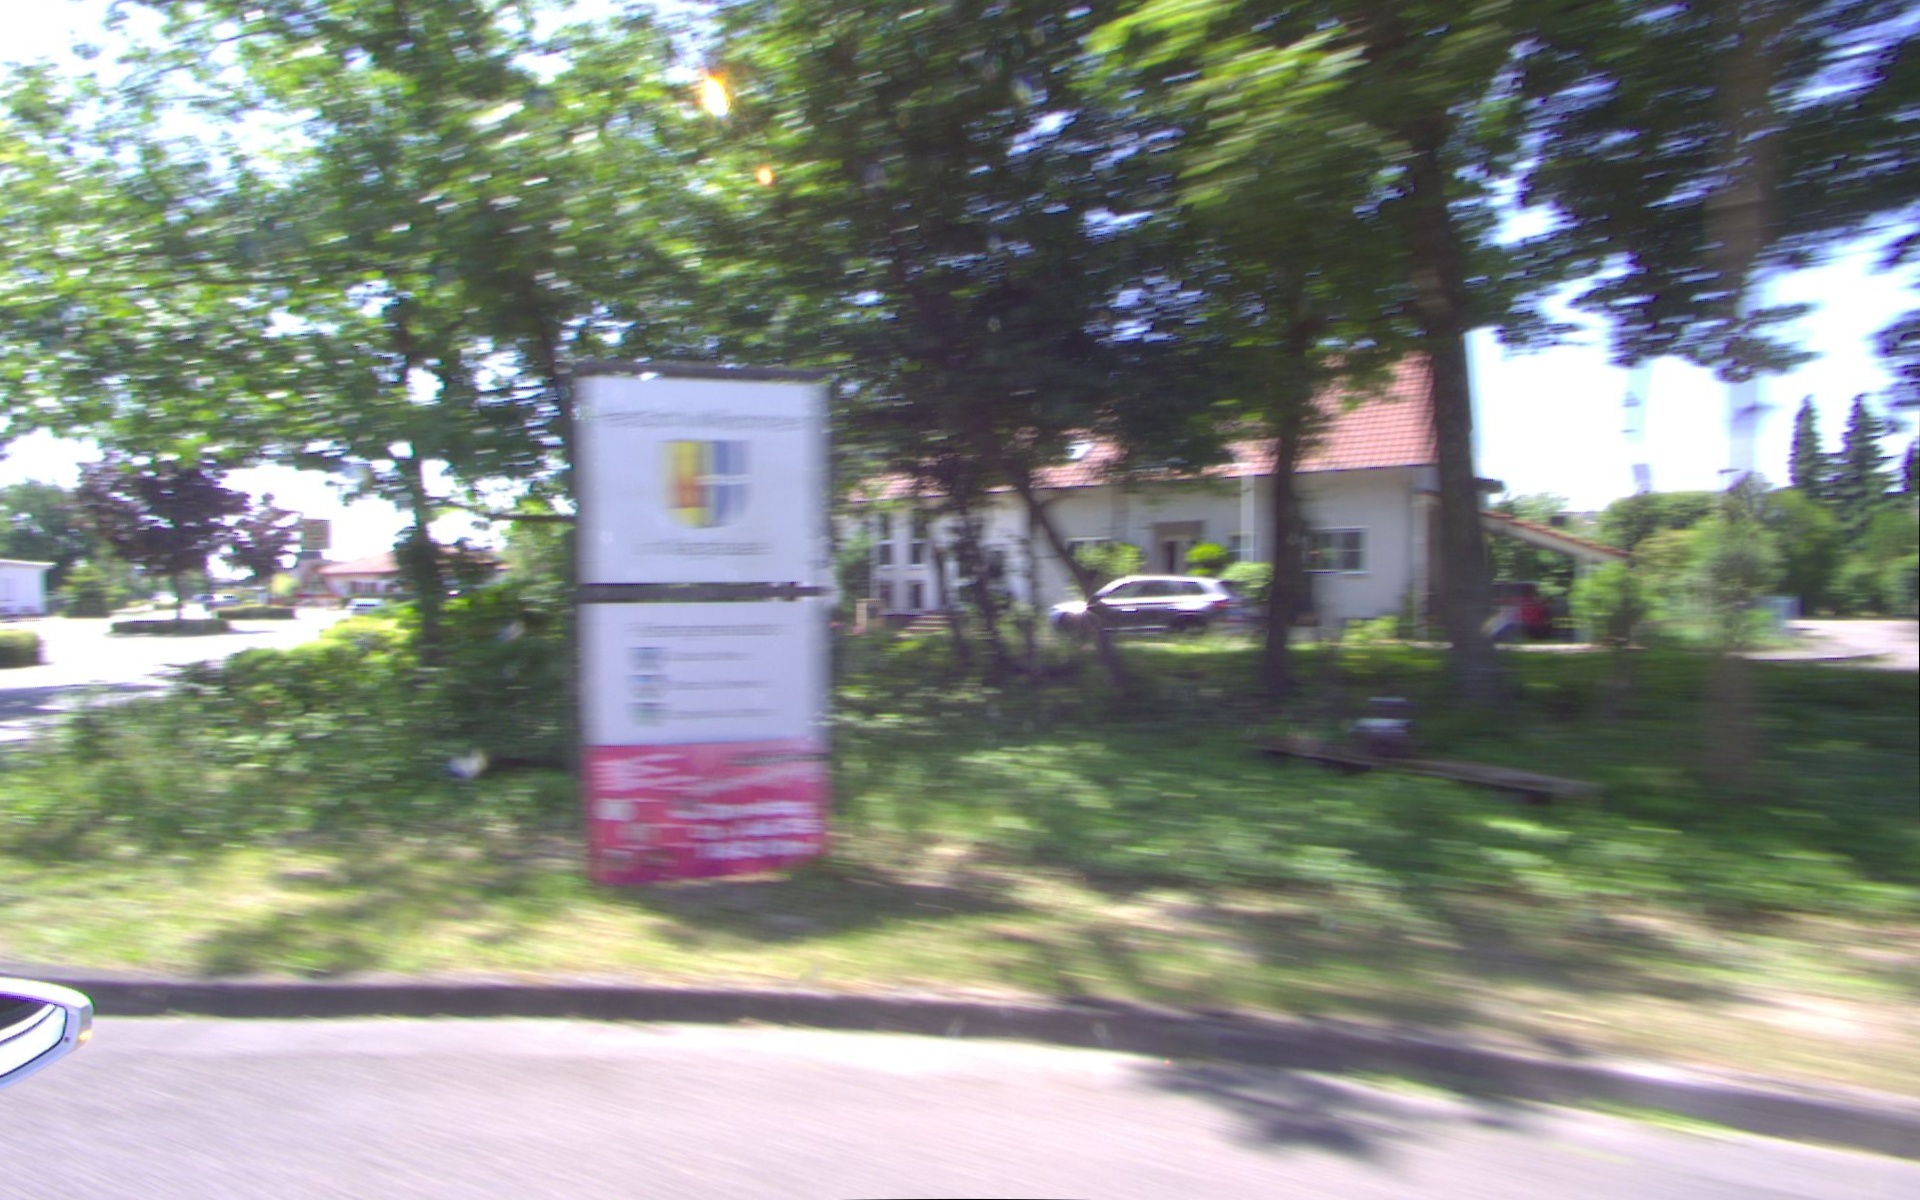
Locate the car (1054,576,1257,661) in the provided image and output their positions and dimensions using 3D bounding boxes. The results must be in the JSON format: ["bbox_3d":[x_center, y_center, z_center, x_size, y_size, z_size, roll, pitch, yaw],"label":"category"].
[{"bbox_3d":[4.272,0.372,22.043,4.081,1.728,1.658,0,1,30],"label":"car"}]

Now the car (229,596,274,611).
[{"bbox_3d":[-63.714,0.314,90.016,3.943,1.305,1.989,0,1,33],"label":"car"}]

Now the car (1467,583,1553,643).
[{"bbox_3d":[13.857,0.278,25.140,1.661,1.404,3.673,0,1,33],"label":"car"}]

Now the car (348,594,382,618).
[{"bbox_3d":[-33.664,0.342,56.719,1.596,1.305,3.537,0,1,-30],"label":"car"}]

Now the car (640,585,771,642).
[{"bbox_3d":[-7.716,0.379,30.249,3.971,1.623,1.656,0,1,34],"label":"car"}]

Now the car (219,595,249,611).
[{"bbox_3d":[-60.348,0.200,83.184,1.603,1.305,3.523,-1,1,-43],"label":"car"}]
